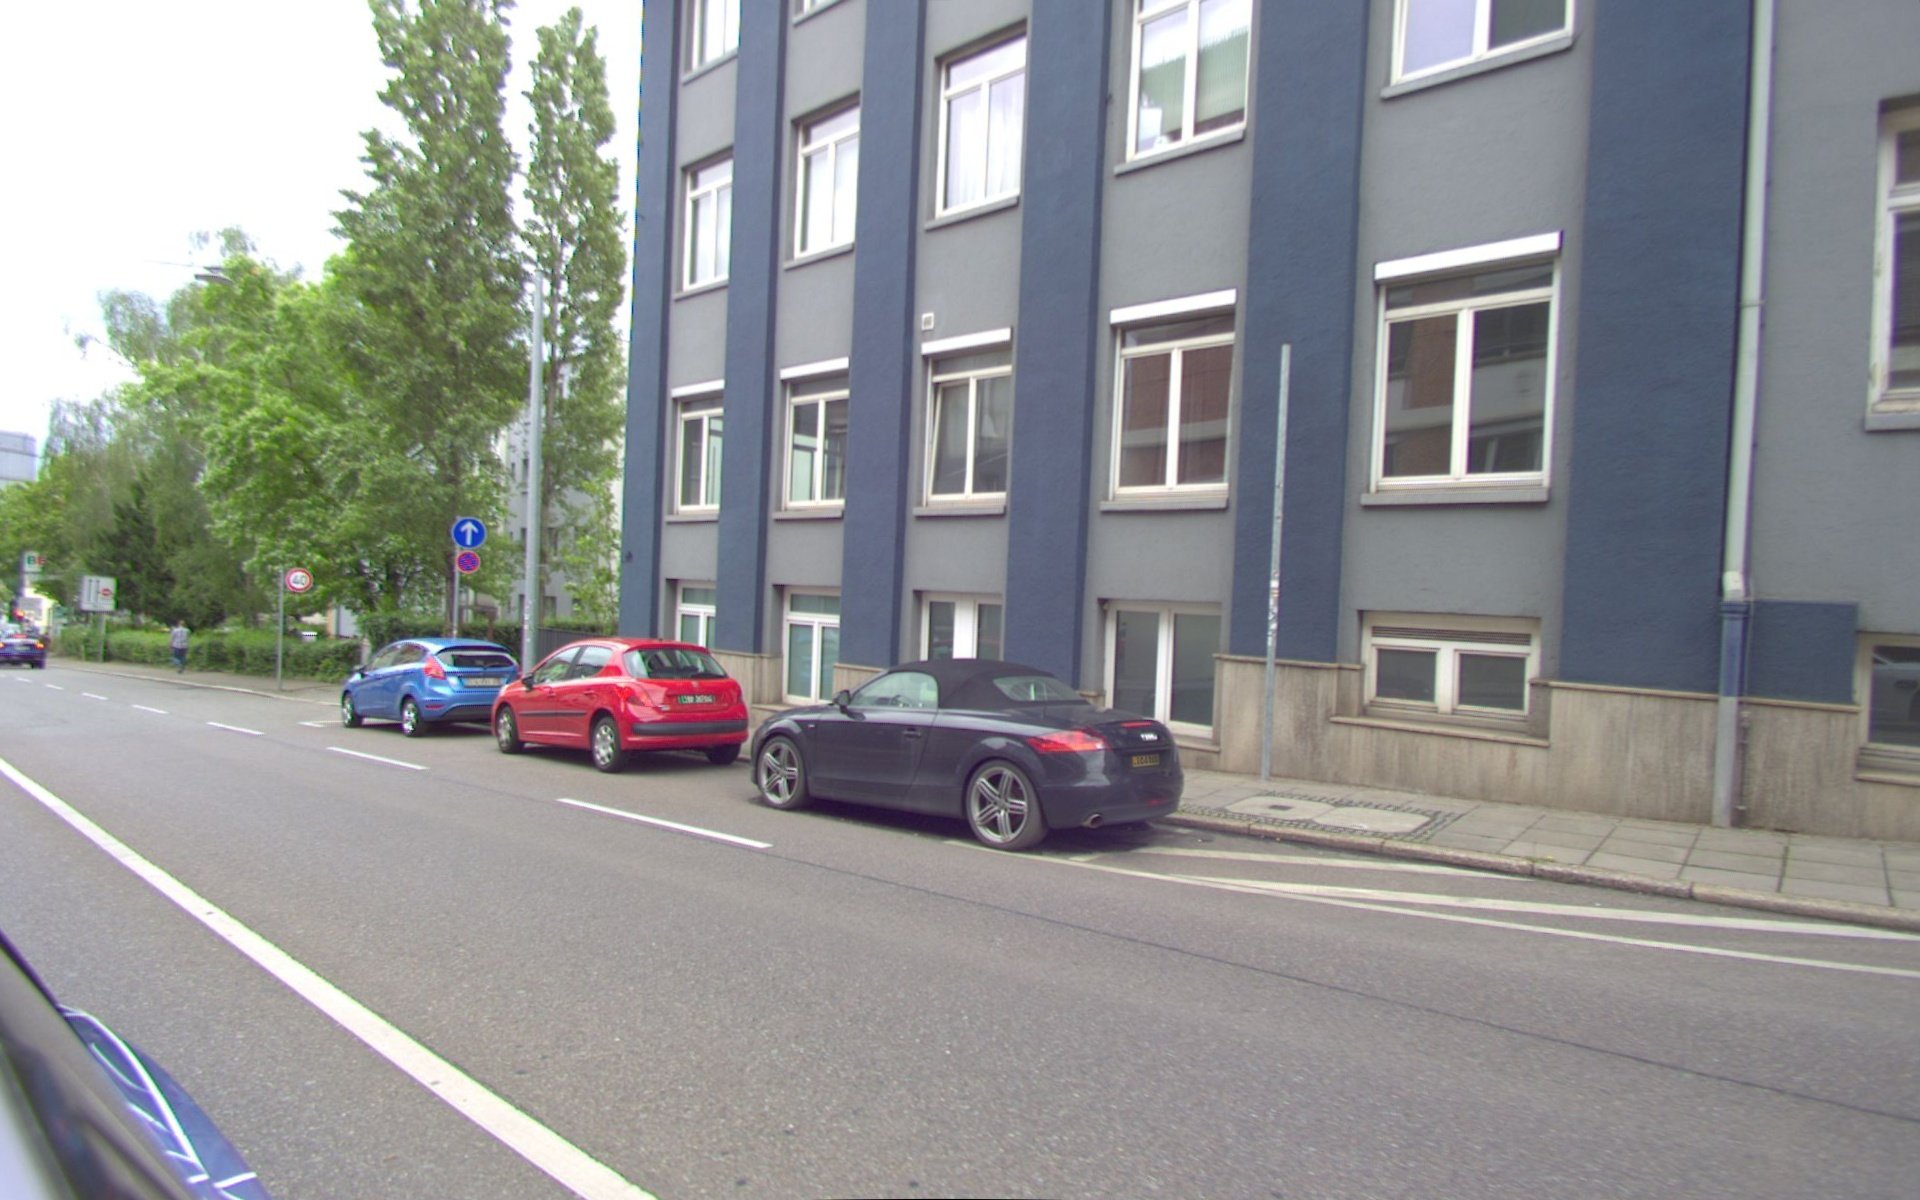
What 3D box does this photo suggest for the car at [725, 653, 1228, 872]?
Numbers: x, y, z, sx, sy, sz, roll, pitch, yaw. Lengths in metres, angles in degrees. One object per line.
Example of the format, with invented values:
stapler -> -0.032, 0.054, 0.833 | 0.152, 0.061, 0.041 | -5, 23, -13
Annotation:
car -> -0.024, 1.154, 8.424 | 4.039, 1.337, 1.701 | -2, -5, 41

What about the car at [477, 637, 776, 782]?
car -> -4.188, 1.232, 12.428 | 3.868, 1.485, 1.795 | -2, -5, 43

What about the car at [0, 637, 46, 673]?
car -> -40.831, 2.350, 43.627 | 3.726, 1.495, 1.701 | -2, -4, 42

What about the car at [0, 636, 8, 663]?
car -> -51.946, 2.594, 53.739 | 3.726, 1.427, 1.701 | -2, -4, 42

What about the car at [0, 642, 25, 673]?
car -> -46.432, 2.732, 48.743 | 3.726, 1.427, 1.701 | -2, -4, 42

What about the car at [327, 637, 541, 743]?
car -> -8.389, 1.344, 16.036 | 3.724, 1.465, 1.702 | -2, -4, 40

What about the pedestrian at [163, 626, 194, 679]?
pedestrian -> -27.860, 1.859, 36.071 | 0.776, 1.864, 0.736 | -2, -2, 42
